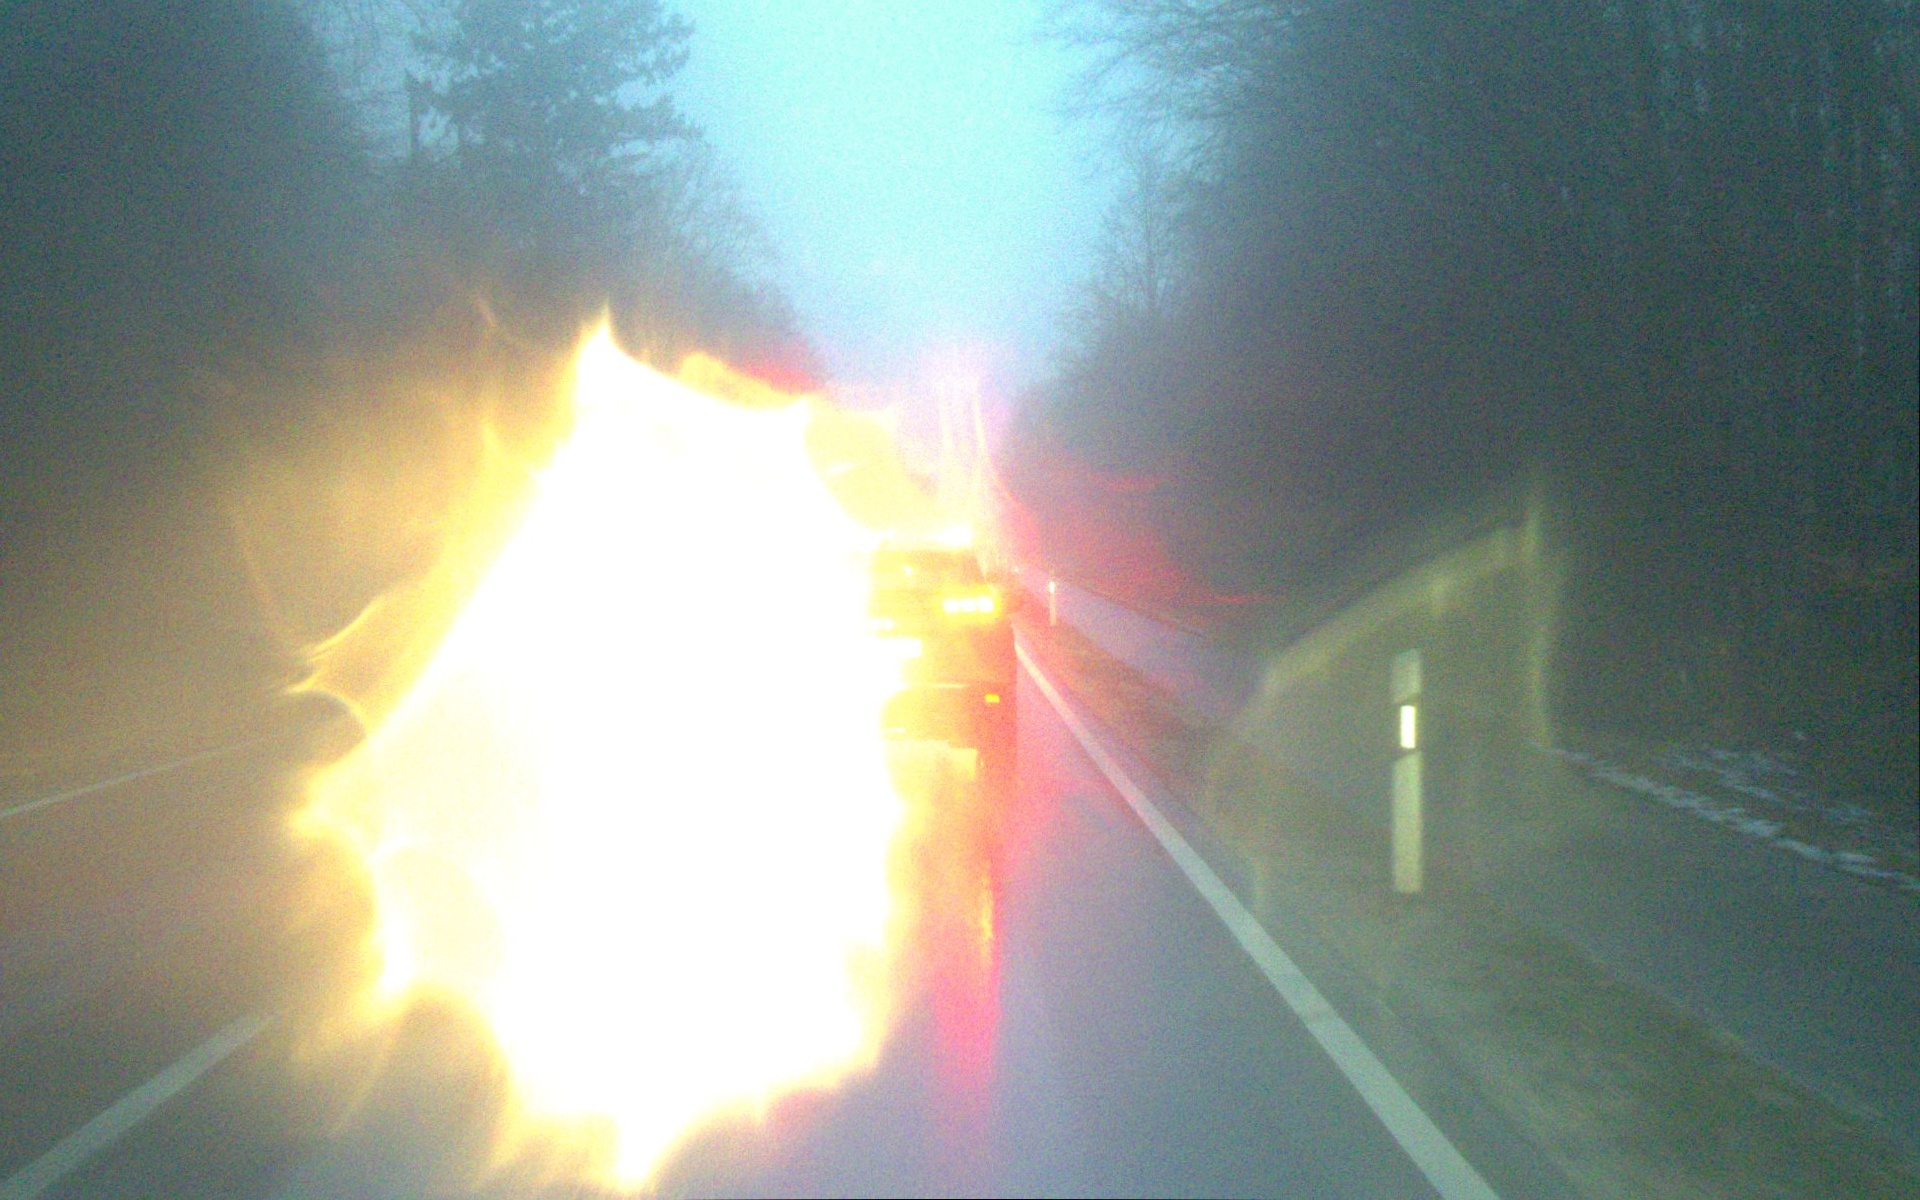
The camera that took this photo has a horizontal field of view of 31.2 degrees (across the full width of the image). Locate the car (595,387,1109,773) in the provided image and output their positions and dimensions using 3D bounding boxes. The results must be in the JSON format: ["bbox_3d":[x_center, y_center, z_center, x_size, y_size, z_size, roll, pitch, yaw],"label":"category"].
[{"bbox_3d":[-0.677,-0.183,24.769,3.183,2.378,6.636,1,1,0],"label":"car"}]

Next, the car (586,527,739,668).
[{"bbox_3d":[-4.194,-0.069,49.085,1.797,1.875,4.426,-2,1,-1],"label":"car"}]
